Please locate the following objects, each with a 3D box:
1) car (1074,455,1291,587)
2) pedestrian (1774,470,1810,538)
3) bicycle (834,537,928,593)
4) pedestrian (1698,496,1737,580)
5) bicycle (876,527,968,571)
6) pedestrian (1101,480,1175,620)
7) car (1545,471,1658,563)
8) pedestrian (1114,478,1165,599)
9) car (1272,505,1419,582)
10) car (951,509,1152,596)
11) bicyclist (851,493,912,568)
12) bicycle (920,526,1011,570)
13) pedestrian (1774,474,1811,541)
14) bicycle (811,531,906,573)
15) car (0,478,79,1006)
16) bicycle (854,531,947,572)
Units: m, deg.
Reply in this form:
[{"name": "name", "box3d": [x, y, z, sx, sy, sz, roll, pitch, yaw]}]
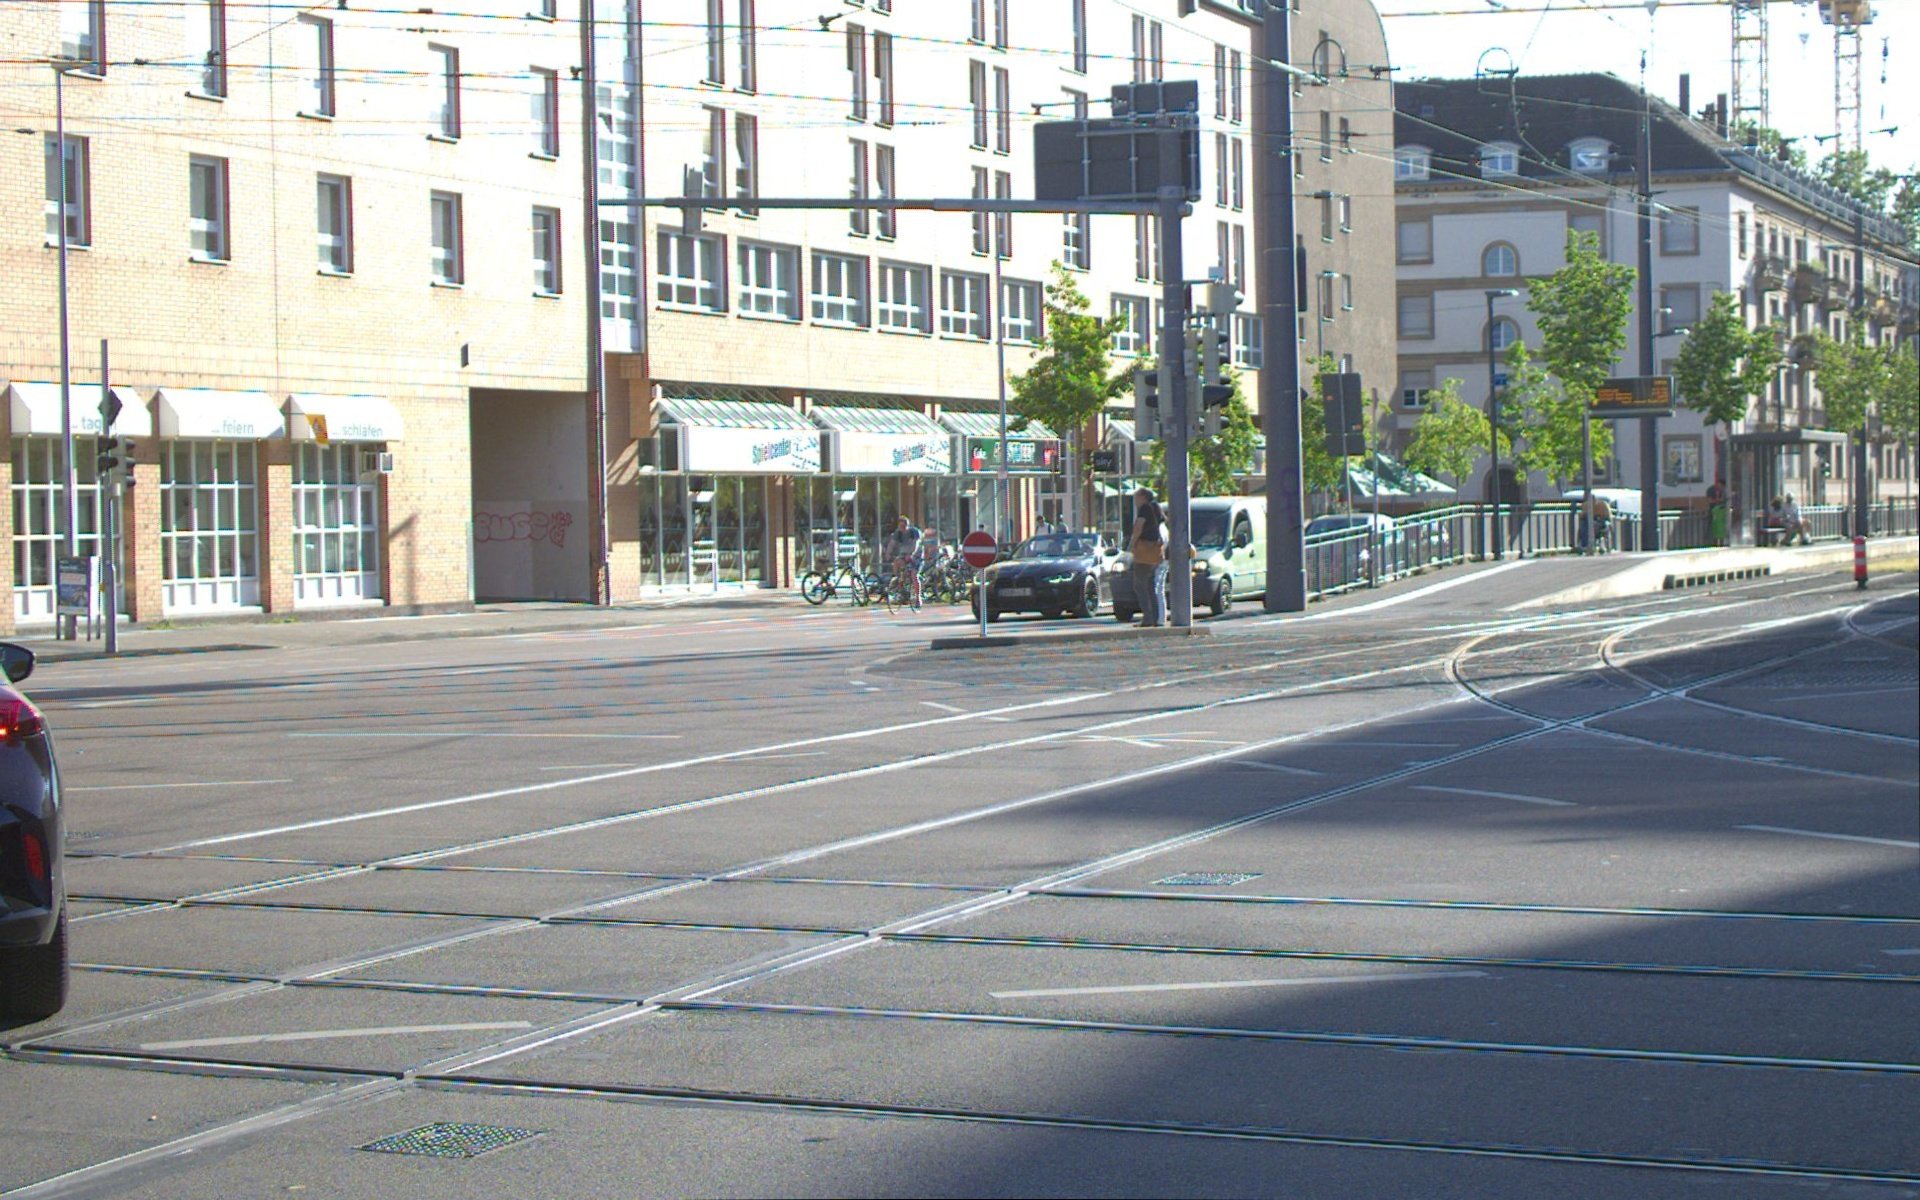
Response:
[{"name": "car", "box3d": [3.384, -1.167, 51.610, 1.841, 1.829, 4.102, -2, 0, 25]}, {"name": "pedestrian", "box3d": [20.726, -2.394, 85.647, 0.861, 1.664, 0.784, 0, 2, 13]}, {"name": "bicycle", "box3d": [-1.445, -0.652, 63.527, 0.810, 0.987, 2.506, -1, 1, 22]}, {"name": "pedestrian", "box3d": [17.064, -1.395, 77.453, 0.861, 1.880, 0.737, 0, 2, 13]}, {"name": "bicycle", "box3d": [-0.829, -1.096, 73.882, 2.037, 0.917, 0.482, -1, 1, 34]}, {"name": "pedestrian", "box3d": [2.211, -0.620, 42.722, 0.722, 1.721, 0.594, -1, 1, 24]}, {"name": "car", "box3d": [21.944, -2.852, 117.346, 2.379, 2.988, 8.462, -1, 1, 20]}, {"name": "pedestrian", "box3d": [2.345, -0.803, 44.937, 0.580, 1.571, 0.646, 0, 0, 10]}, {"name": "car", "box3d": [7.812, -1.137, 69.422, 1.841, 1.443, 4.293, -2, 0, 22]}, {"name": "car", "box3d": [1.508, -0.754, 54.835, 1.841, 1.264, 4.225, -2, 0, 21]}, {"name": "bicyclist", "box3d": [-1.454, -1.284, 63.524, 0.810, 1.372, 0.924, -1, 1, 22]}, {"name": "bicycle", "box3d": [0.124, -1.128, 74.855, 2.037, 0.917, 0.482, -1, 1, 34]}, {"name": "pedestrian", "box3d": [20.577, -2.287, 84.996, 0.861, 1.664, 0.737, 0, 2, 13]}, {"name": "bicycle", "box3d": [-2.109, -0.998, 71.383, 2.037, 0.842, 0.482, -1, 1, 34]}, {"name": "car", "box3d": [-4.019, 0.356, 11.227, 1.671, 1.496, 3.692, -1, 2, -23]}, {"name": "bicycle", "box3d": [-1.265, -1.023, 72.667, 2.037, 0.842, 0.482, -1, 1, 34]}]
